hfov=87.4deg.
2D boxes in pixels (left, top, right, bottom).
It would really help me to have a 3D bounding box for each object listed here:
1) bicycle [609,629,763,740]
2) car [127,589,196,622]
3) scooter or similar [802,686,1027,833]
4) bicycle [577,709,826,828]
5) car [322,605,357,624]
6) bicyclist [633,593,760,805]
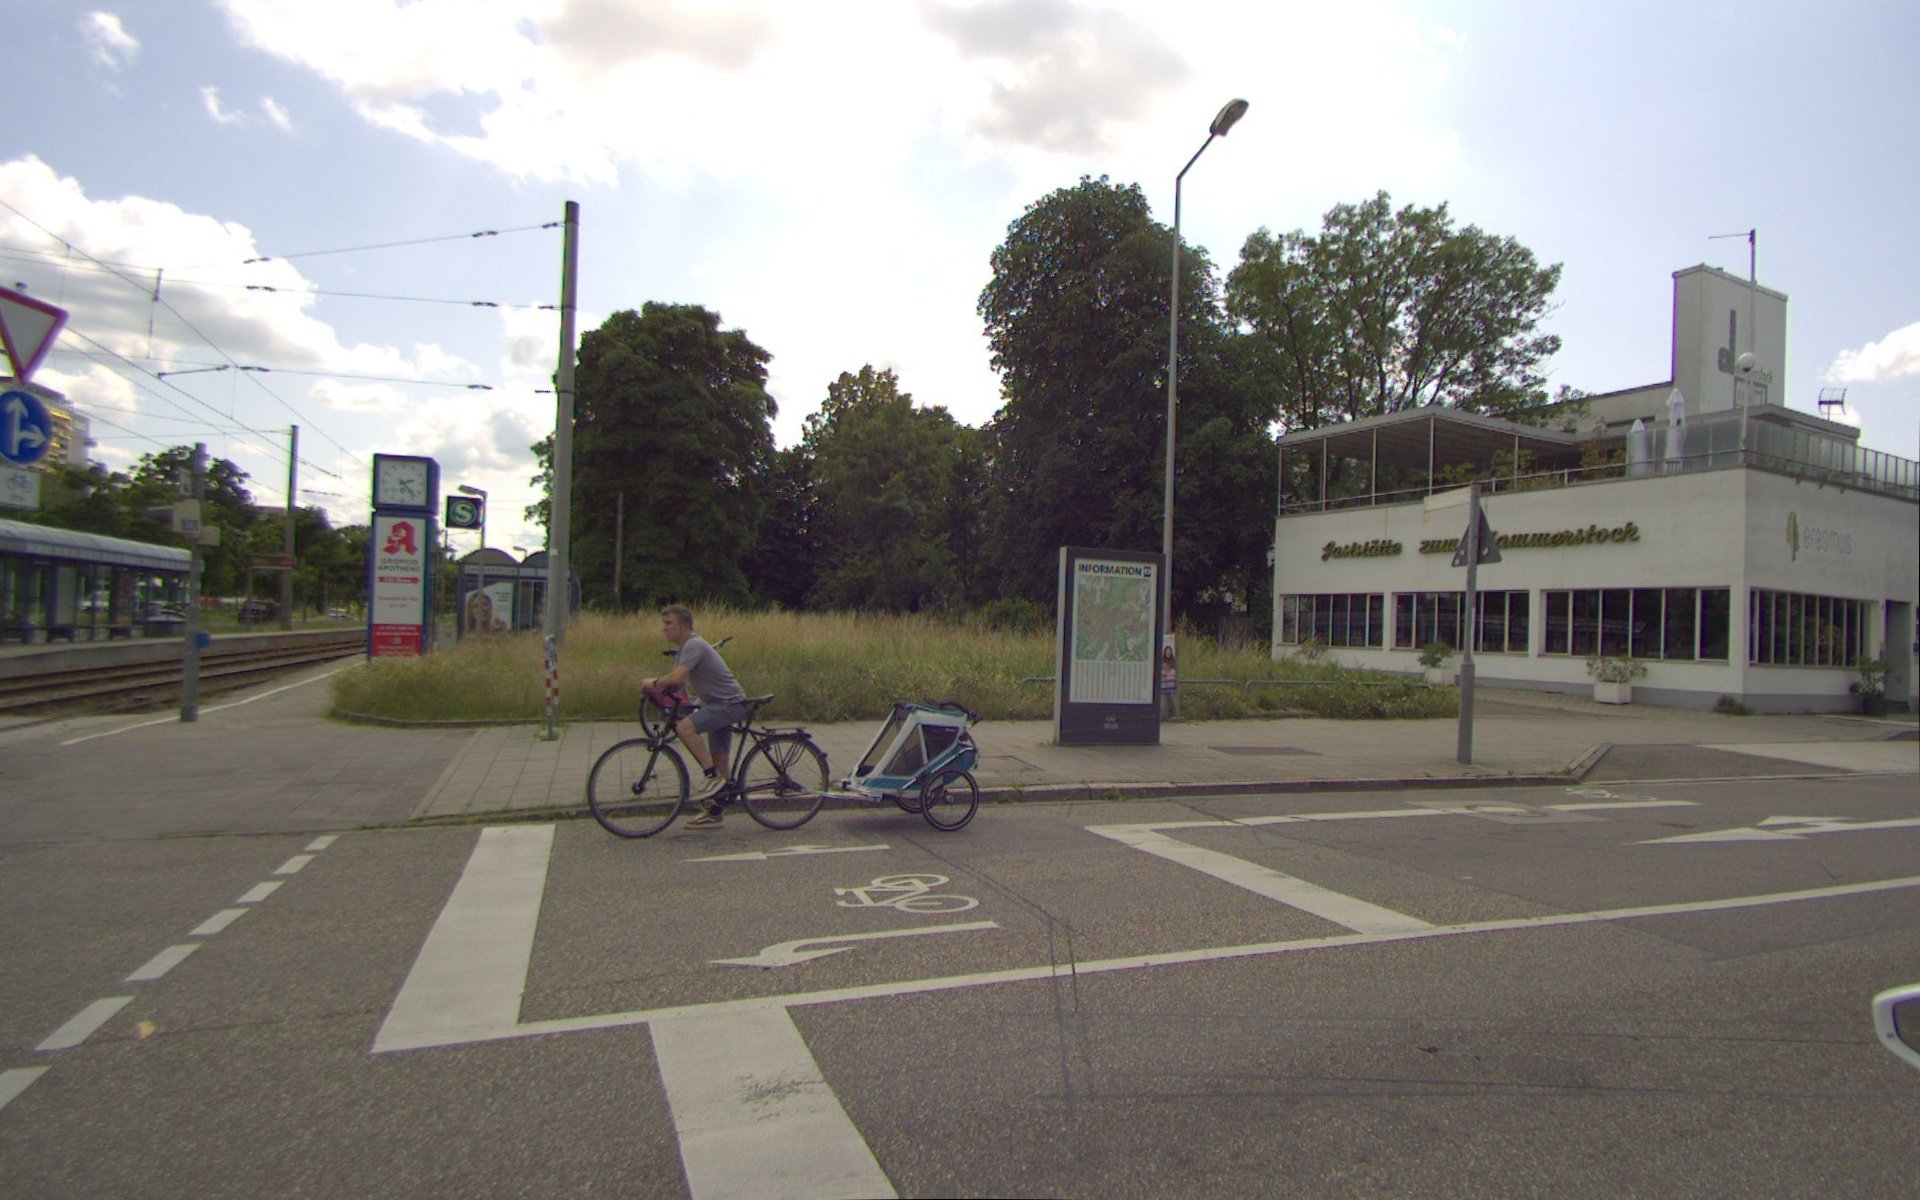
[{"bbox_3d":[-3.156,0.940,11.690,0.690,1.147,1.655,2,0,35],"label":"bicycle"},{"bbox_3d":[-44.908,0.352,56.593,1.766,1.690,4.317,4,-2,-22],"label":"car"},{"bbox_3d":[-0.381,1.205,7.887,1.555,0.992,0.959,2,-2,-18],"label":"scooter or similar"},{"bbox_3d":[-1.903,1.246,7.475,1.700,0.775,0.553,4,-2,-18],"label":"bicycle"},{"bbox_3d":[-56.256,1.317,91.129,1.765,1.545,4.281,4,-2,-21],"label":"car"},{"bbox_3d":[-1.955,0.721,7.450,0.828,1.495,0.453,2,-1,-18],"label":"bicyclist"}]
